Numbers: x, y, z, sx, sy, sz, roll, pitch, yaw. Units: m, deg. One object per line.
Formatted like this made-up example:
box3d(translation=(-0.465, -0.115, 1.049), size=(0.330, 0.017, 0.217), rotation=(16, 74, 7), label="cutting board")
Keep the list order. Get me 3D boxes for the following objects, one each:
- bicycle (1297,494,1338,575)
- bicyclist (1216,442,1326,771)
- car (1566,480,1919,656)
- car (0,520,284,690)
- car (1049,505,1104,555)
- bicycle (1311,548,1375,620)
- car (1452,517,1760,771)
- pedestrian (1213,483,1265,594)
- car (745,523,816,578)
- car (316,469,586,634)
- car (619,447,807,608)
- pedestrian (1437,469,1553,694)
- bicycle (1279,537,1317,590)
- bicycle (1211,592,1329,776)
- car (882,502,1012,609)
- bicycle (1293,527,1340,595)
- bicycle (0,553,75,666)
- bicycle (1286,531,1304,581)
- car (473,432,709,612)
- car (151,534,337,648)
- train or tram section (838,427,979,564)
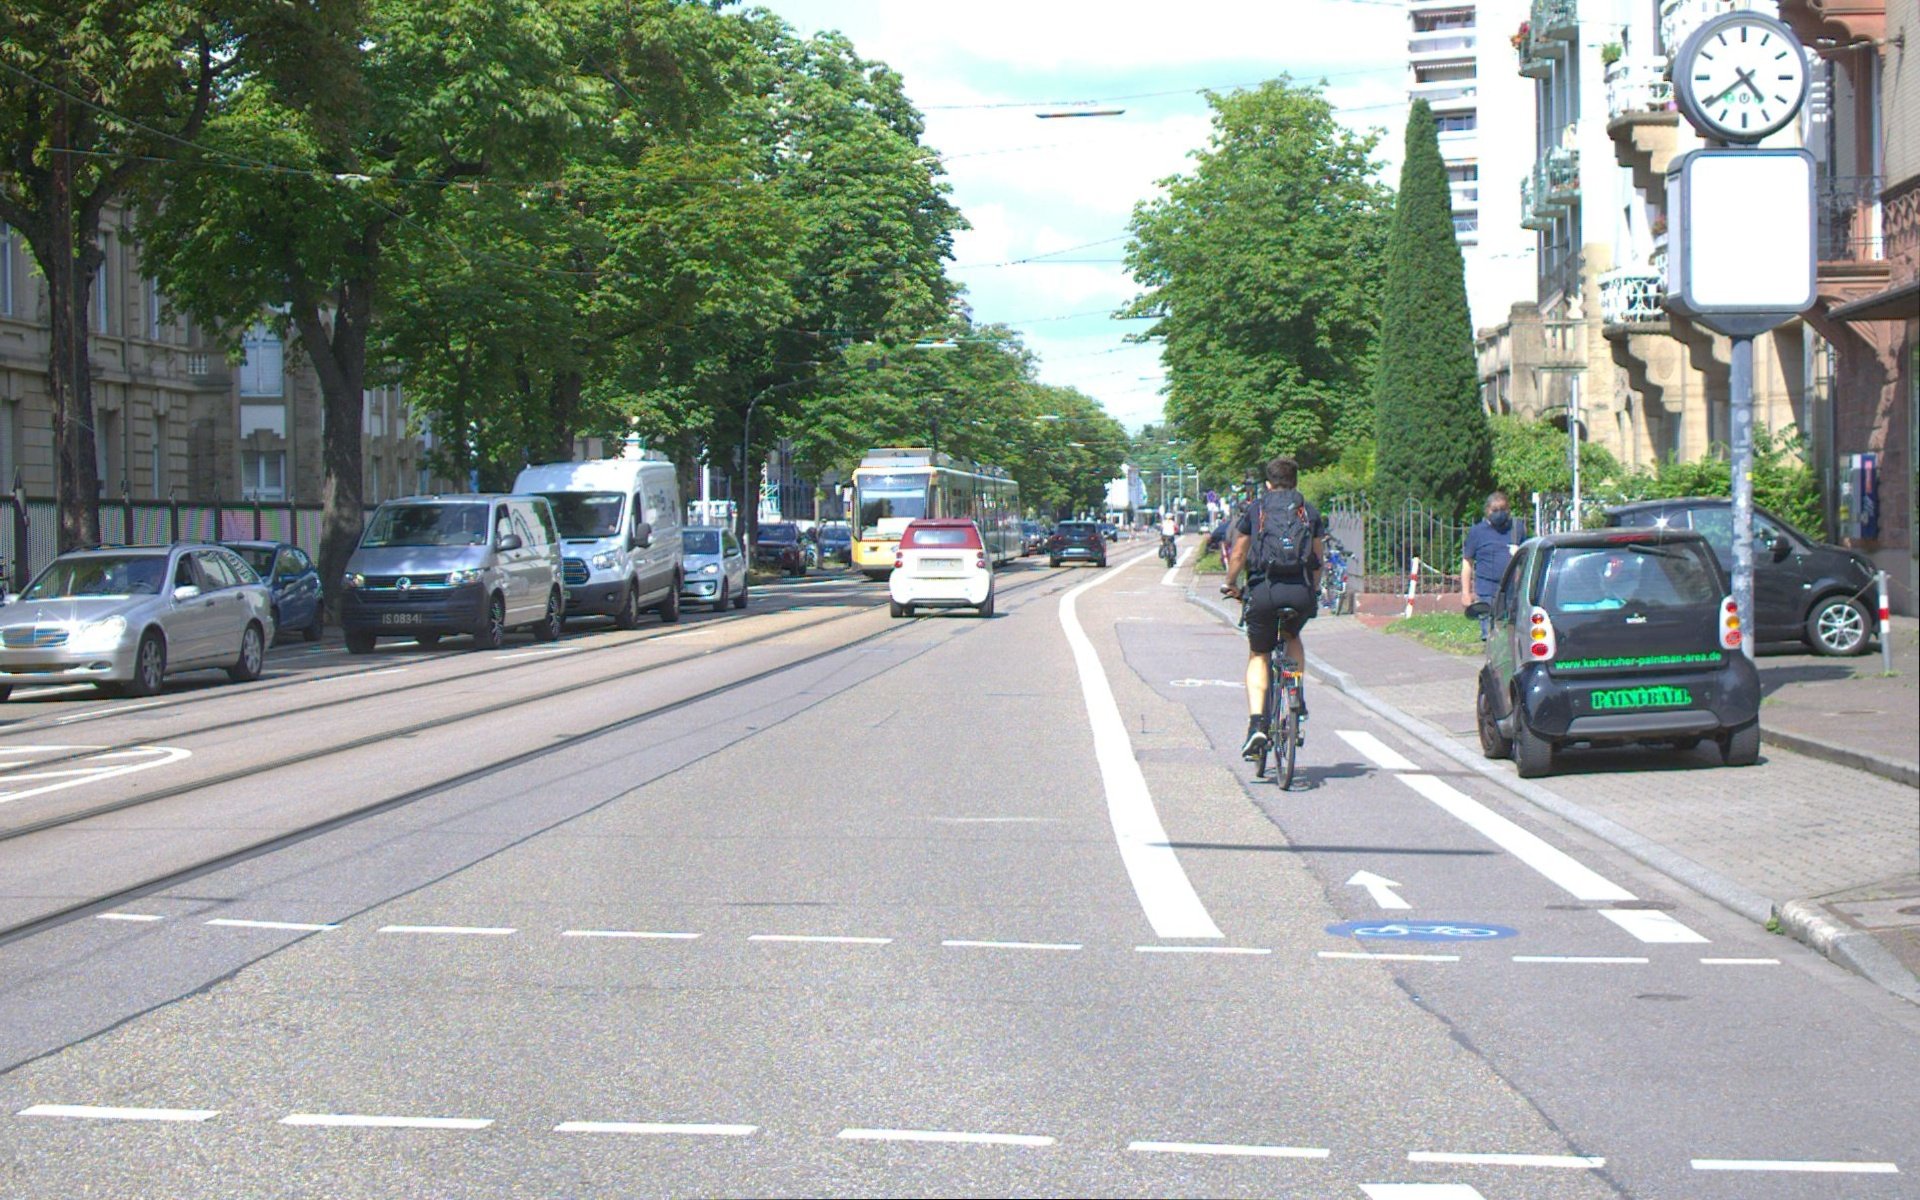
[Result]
box3d(translation=(5.717, -1.057, 55.026), size=(0.451, 1.256, 1.844), rotation=(-3, 1, 1), label="bicycle")
box3d(translation=(1.893, 0.032, 21.027), size=(0.607, 1.941, 1.130), rotation=(1, 1, 4), label="bicyclist")
box3d(translation=(7.690, -0.320, 33.327), size=(3.402, 1.518, 1.971), rotation=(-2, 1, 7), label="car")
box3d(translation=(-8.086, -0.002, 33.322), size=(1.693, 1.475, 4.481), rotation=(-1, 2, 7), label="car")
box3d(translation=(3.876, -2.314, 113.568), size=(1.665, 1.619, 3.620), rotation=(-1, 1, 4), label="car")
box3d(translation=(5.638, -0.252, 50.780), size=(0.599, 0.957, 3.066), rotation=(-4, 1, 1), label="bicycle")
box3d(translation=(4.192, 0.241, 22.638), size=(1.513, 1.493, 2.794), rotation=(-3, 1, 2), label="car")
box3d(translation=(4.691, -1.028, 57.806), size=(0.787, 1.855, 0.580), rotation=(0, 1, -2), label="pedestrian")
box3d(translation=(-5.686, -1.570, 109.383), size=(1.750, 1.659, 4.720), rotation=(1, 1, 3), label="car")
box3d(translation=(-6.394, -0.619, 43.836), size=(1.987, 1.956, 5.178), rotation=(-1, 1, 8), label="car")
box3d(translation=(-4.007, -1.199, 56.923), size=(2.316, 2.499, 6.363), rotation=(-1, 1, 3), label="car")
box3d(translation=(4.542, -0.161, 29.230), size=(0.659, 1.835, 0.873), rotation=(-5, 1, -4), label="pedestrian")
box3d(translation=(6.573, -0.715, 66.936), size=(0.610, 0.992, 2.362), rotation=(-3, 0, 4), label="bicycle")
box3d(translation=(1.887, 0.509, 21.092), size=(0.616, 1.041, 1.835), rotation=(-4, -1, 4), label="bicycle")
box3d(translation=(-0.176, -0.708, 54.696), size=(1.666, 1.619, 3.620), rotation=(1, 1, 6), label="car")
box3d(translation=(6.574, -0.724, 63.454), size=(0.740, 1.227, 2.516), rotation=(-1, 1, 4), label="bicycle")
box3d(translation=(-11.456, 0.105, 40.194), size=(2.050, 1.304, 0.620), rotation=(0, 1, -37), label="bicycle")
box3d(translation=(7.605, -1.007, 78.112), size=(0.279, 1.105, 2.010), rotation=(-4, 0, 4), label="bicycle")
box3d(translation=(-5.408, -1.194, 51.414), size=(2.316, 2.499, 6.363), rotation=(-1, 2, 5), label="car")
box3d(translation=(-10.159, -0.149, 49.033), size=(1.549, 1.514, 4.085), rotation=(1, 1, 4), label="car")
box3d(translation=(-1.291, -2.760, 94.568), size=(2.653, 3.425, 12.313), rotation=(-2, 1, 4), label="train or tram section")
